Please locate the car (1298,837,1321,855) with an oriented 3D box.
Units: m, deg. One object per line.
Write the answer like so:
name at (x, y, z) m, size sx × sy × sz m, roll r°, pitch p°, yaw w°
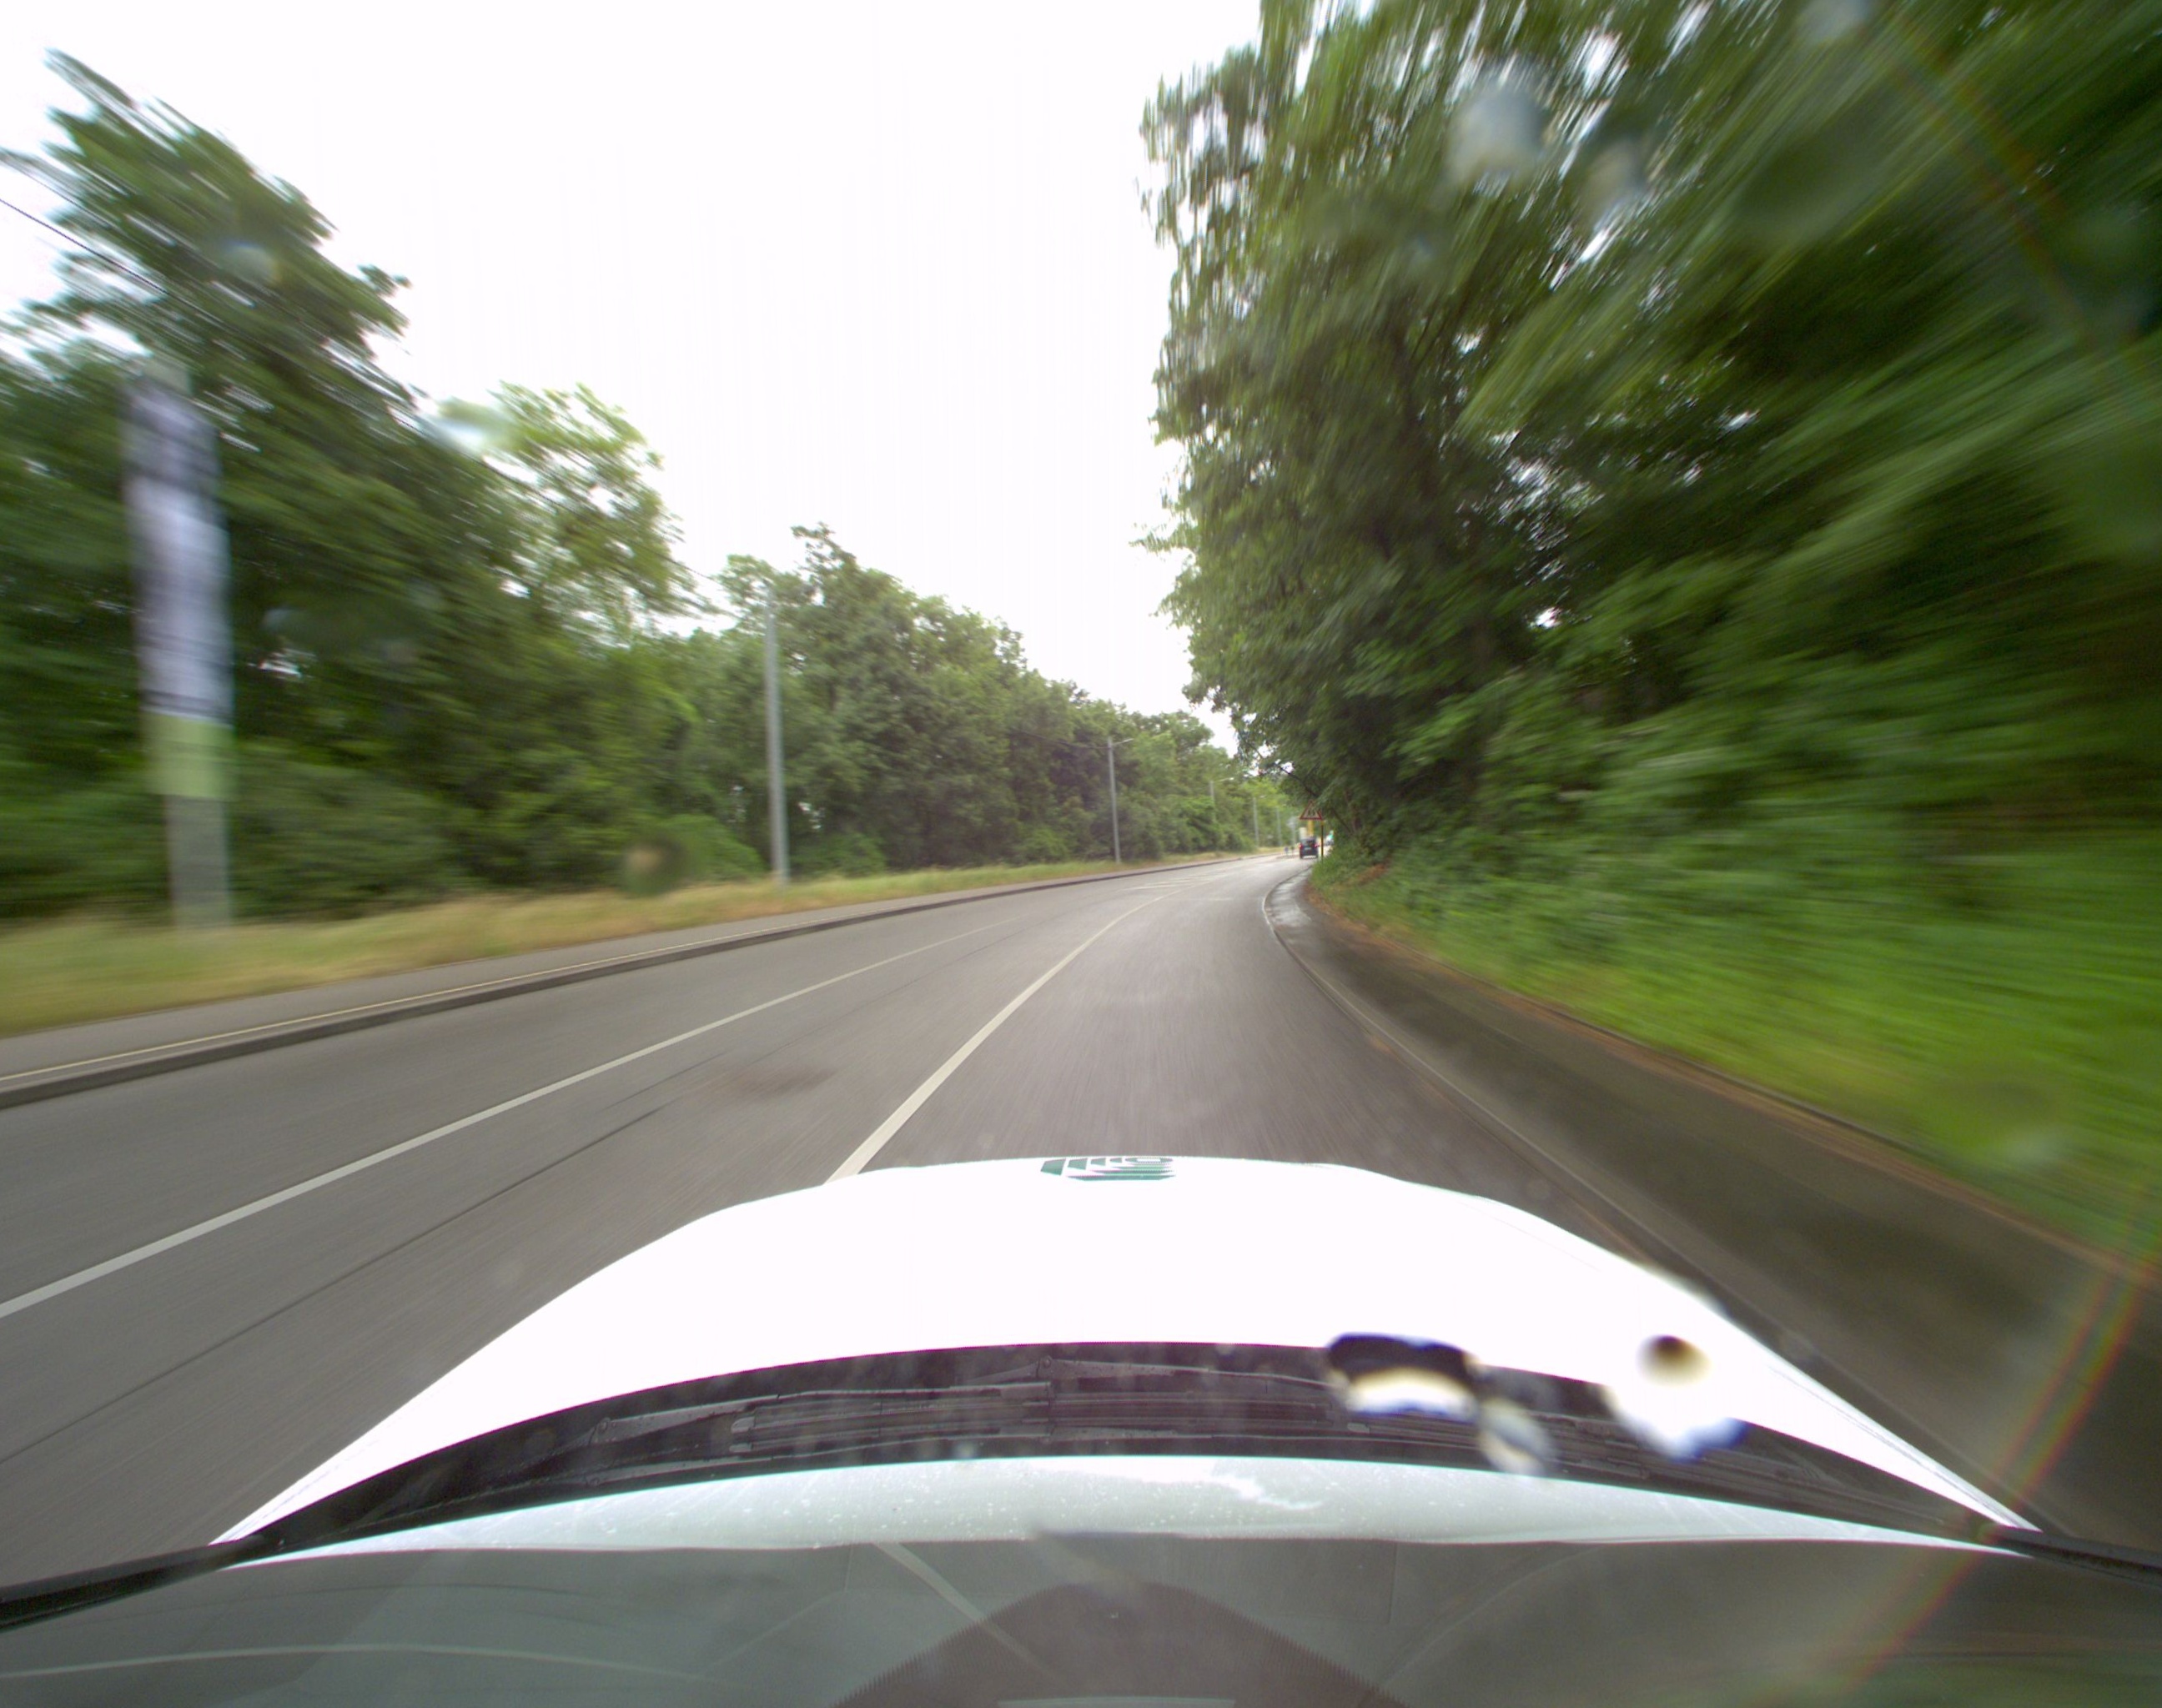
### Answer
car at (21.059, -0.756, 74.957) m, size 1.653 × 1.593 × 3.702 m, roll -3°, pitch 0°, yaw 20°
